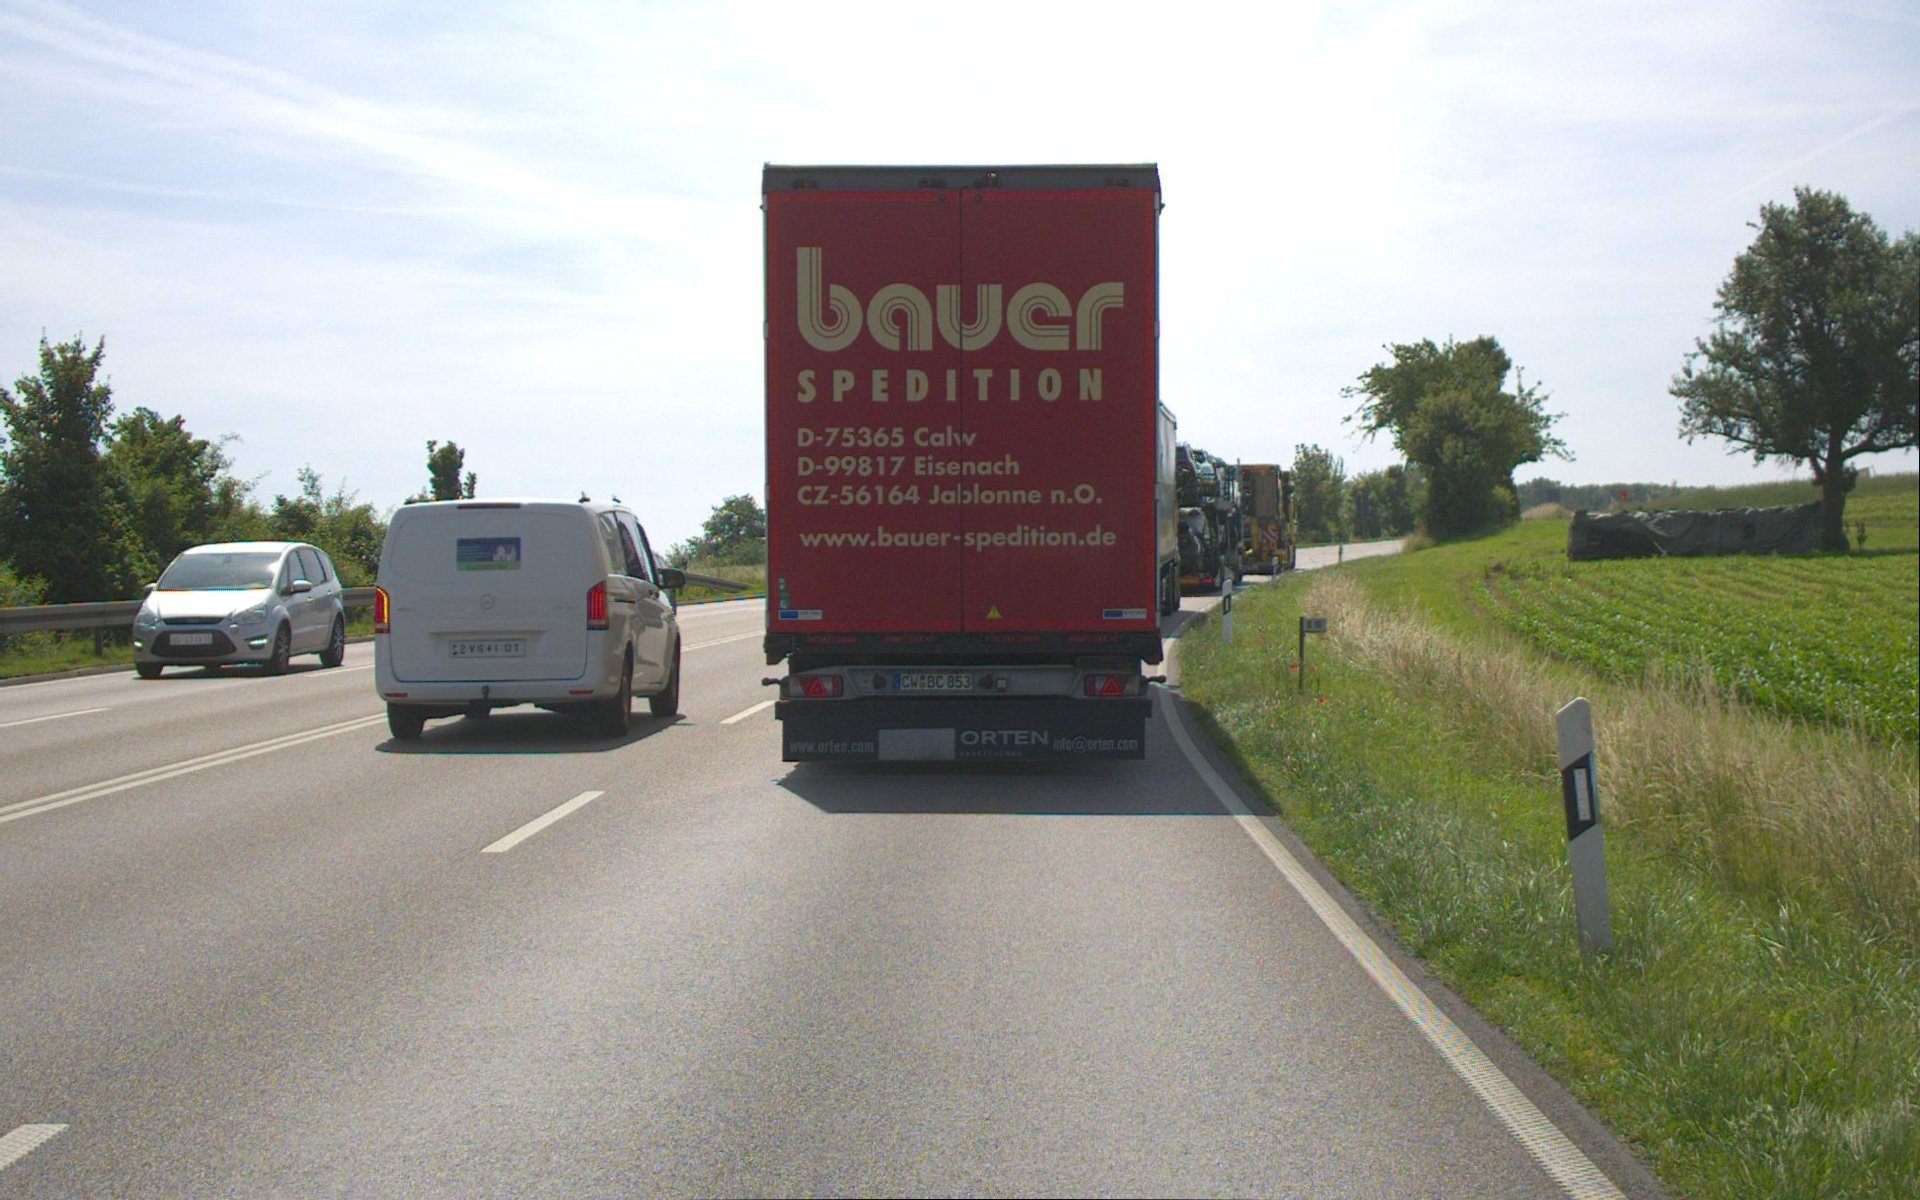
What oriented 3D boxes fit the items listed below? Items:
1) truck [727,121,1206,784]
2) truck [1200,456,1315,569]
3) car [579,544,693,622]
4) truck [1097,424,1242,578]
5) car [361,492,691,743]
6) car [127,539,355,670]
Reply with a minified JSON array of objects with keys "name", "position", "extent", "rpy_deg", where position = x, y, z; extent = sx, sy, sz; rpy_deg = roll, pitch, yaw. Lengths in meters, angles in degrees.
[{"name":"truck","position":[0.014,-1.082,30.018],"extent":[3.007,4.165,16.715],"rpy_deg":[0,1,0]},{"name":"truck","position":[11.304,-3.239,129.076],"extent":[3.048,3.897,18.392],"rpy_deg":[-1,1,9]},{"name":"car","position":[-6.371,-0.356,67.909],"extent":[1.718,1.456,4.215],"rpy_deg":[0,1,2]},{"name":"truck","position":[5.994,-2.695,95.713],"extent":[3.048,3.897,15.612],"rpy_deg":[-1,1,7]},{"name":"car","position":[-3.475,0.090,28.573],"extent":[1.905,1.878,5.432],"rpy_deg":[0,1,2]},{"name":"car","position":[-9.117,0.017,43.966],"extent":[1.813,1.563,4.684],"rpy_deg":[-1,1,1]}]
